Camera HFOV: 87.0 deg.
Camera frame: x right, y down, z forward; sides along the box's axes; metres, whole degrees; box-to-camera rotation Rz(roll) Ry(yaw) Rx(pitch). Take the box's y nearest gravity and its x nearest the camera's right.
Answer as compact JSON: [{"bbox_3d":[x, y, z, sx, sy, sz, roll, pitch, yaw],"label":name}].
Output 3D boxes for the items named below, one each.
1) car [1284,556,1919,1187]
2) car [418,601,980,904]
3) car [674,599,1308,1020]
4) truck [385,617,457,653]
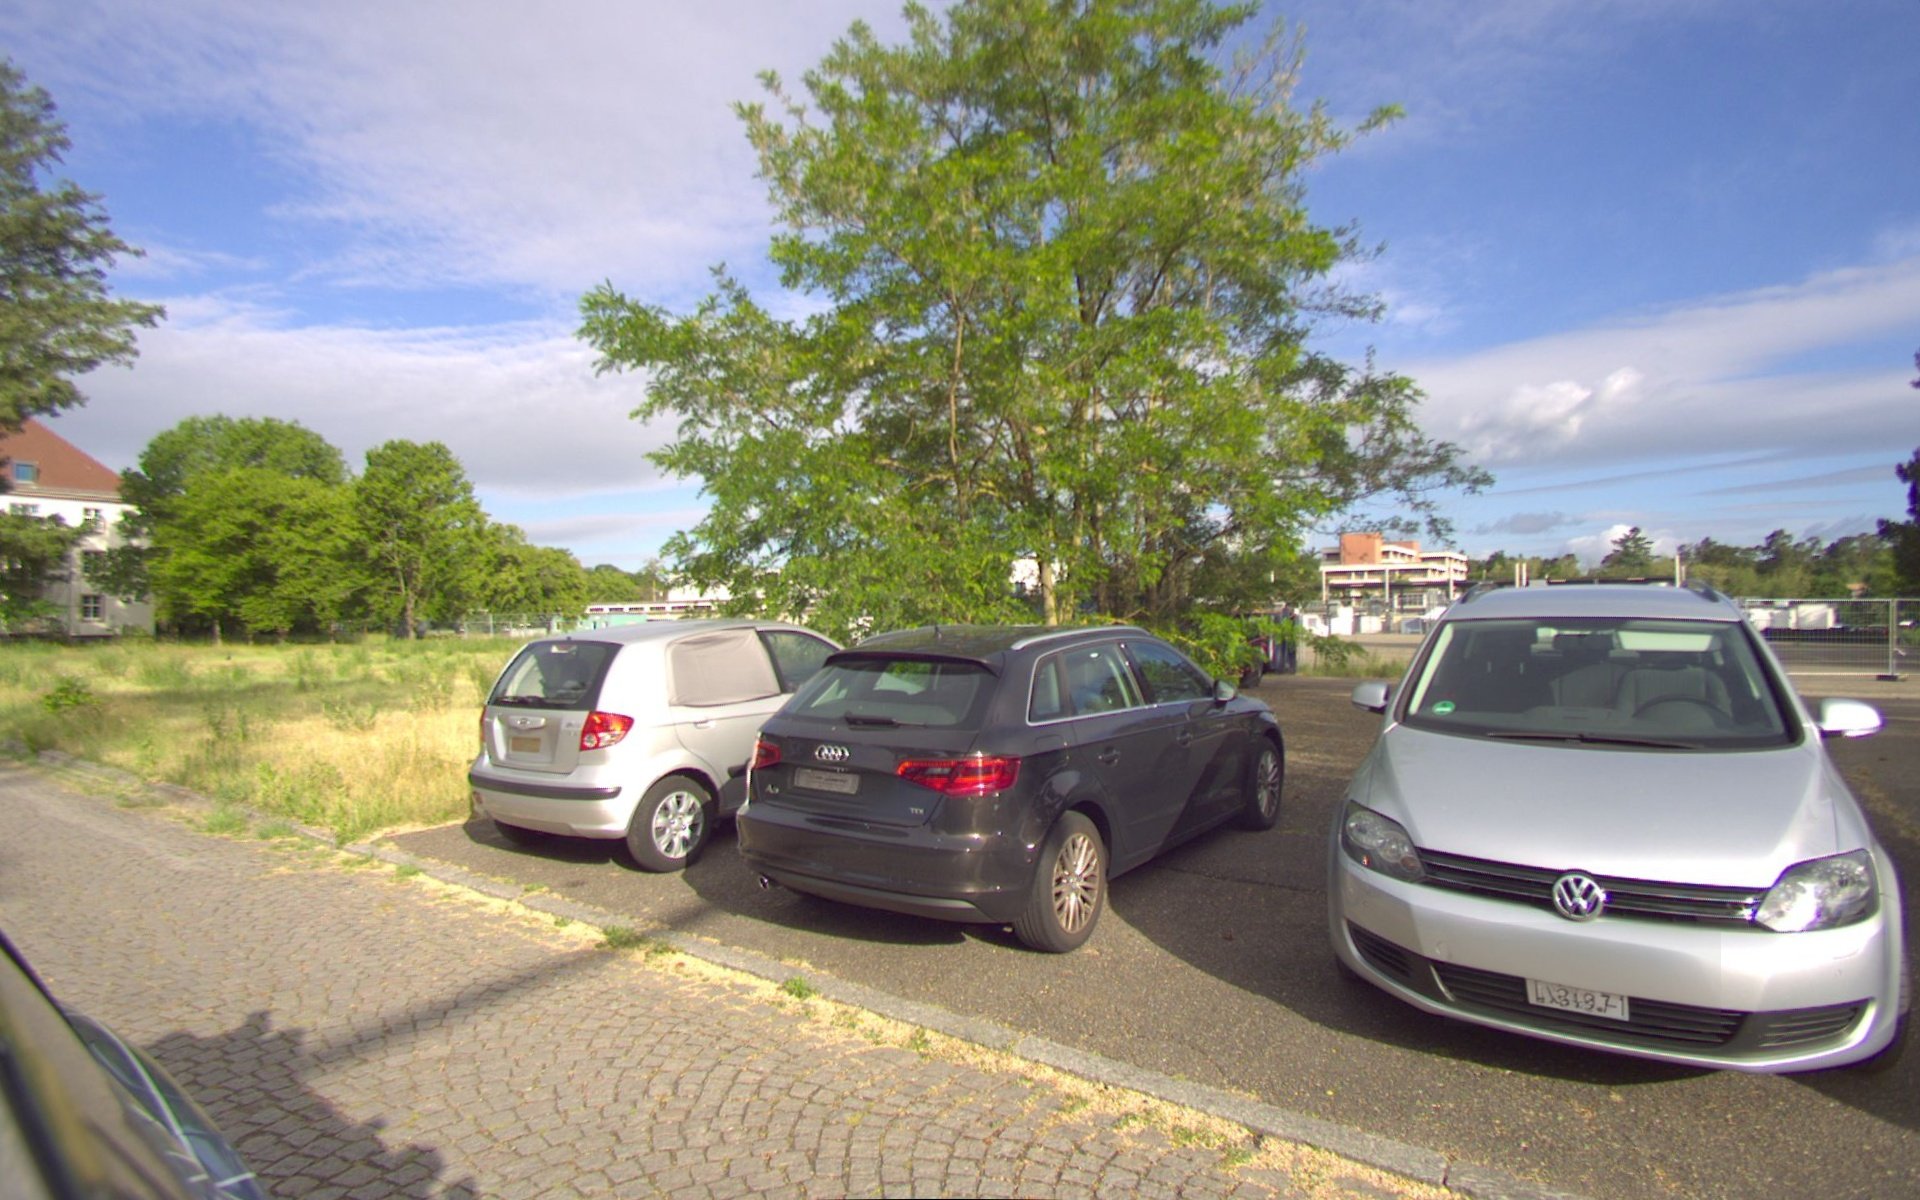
[{"bbox_3d":[2.966,0.640,4.674,1.853,1.611,4.091,-1,1,32],"label":"car"},{"bbox_3d":[-1.643,0.823,7.416,1.845,1.484,3.652,-1,1,35],"label":"car"},{"bbox_3d":[0.496,0.787,5.851,1.855,1.440,3.795,-1,1,36],"label":"car"},{"bbox_3d":[-41.094,2.658,77.035,6.951,2.607,2.388,-2,-2,40],"label":"truck"}]
